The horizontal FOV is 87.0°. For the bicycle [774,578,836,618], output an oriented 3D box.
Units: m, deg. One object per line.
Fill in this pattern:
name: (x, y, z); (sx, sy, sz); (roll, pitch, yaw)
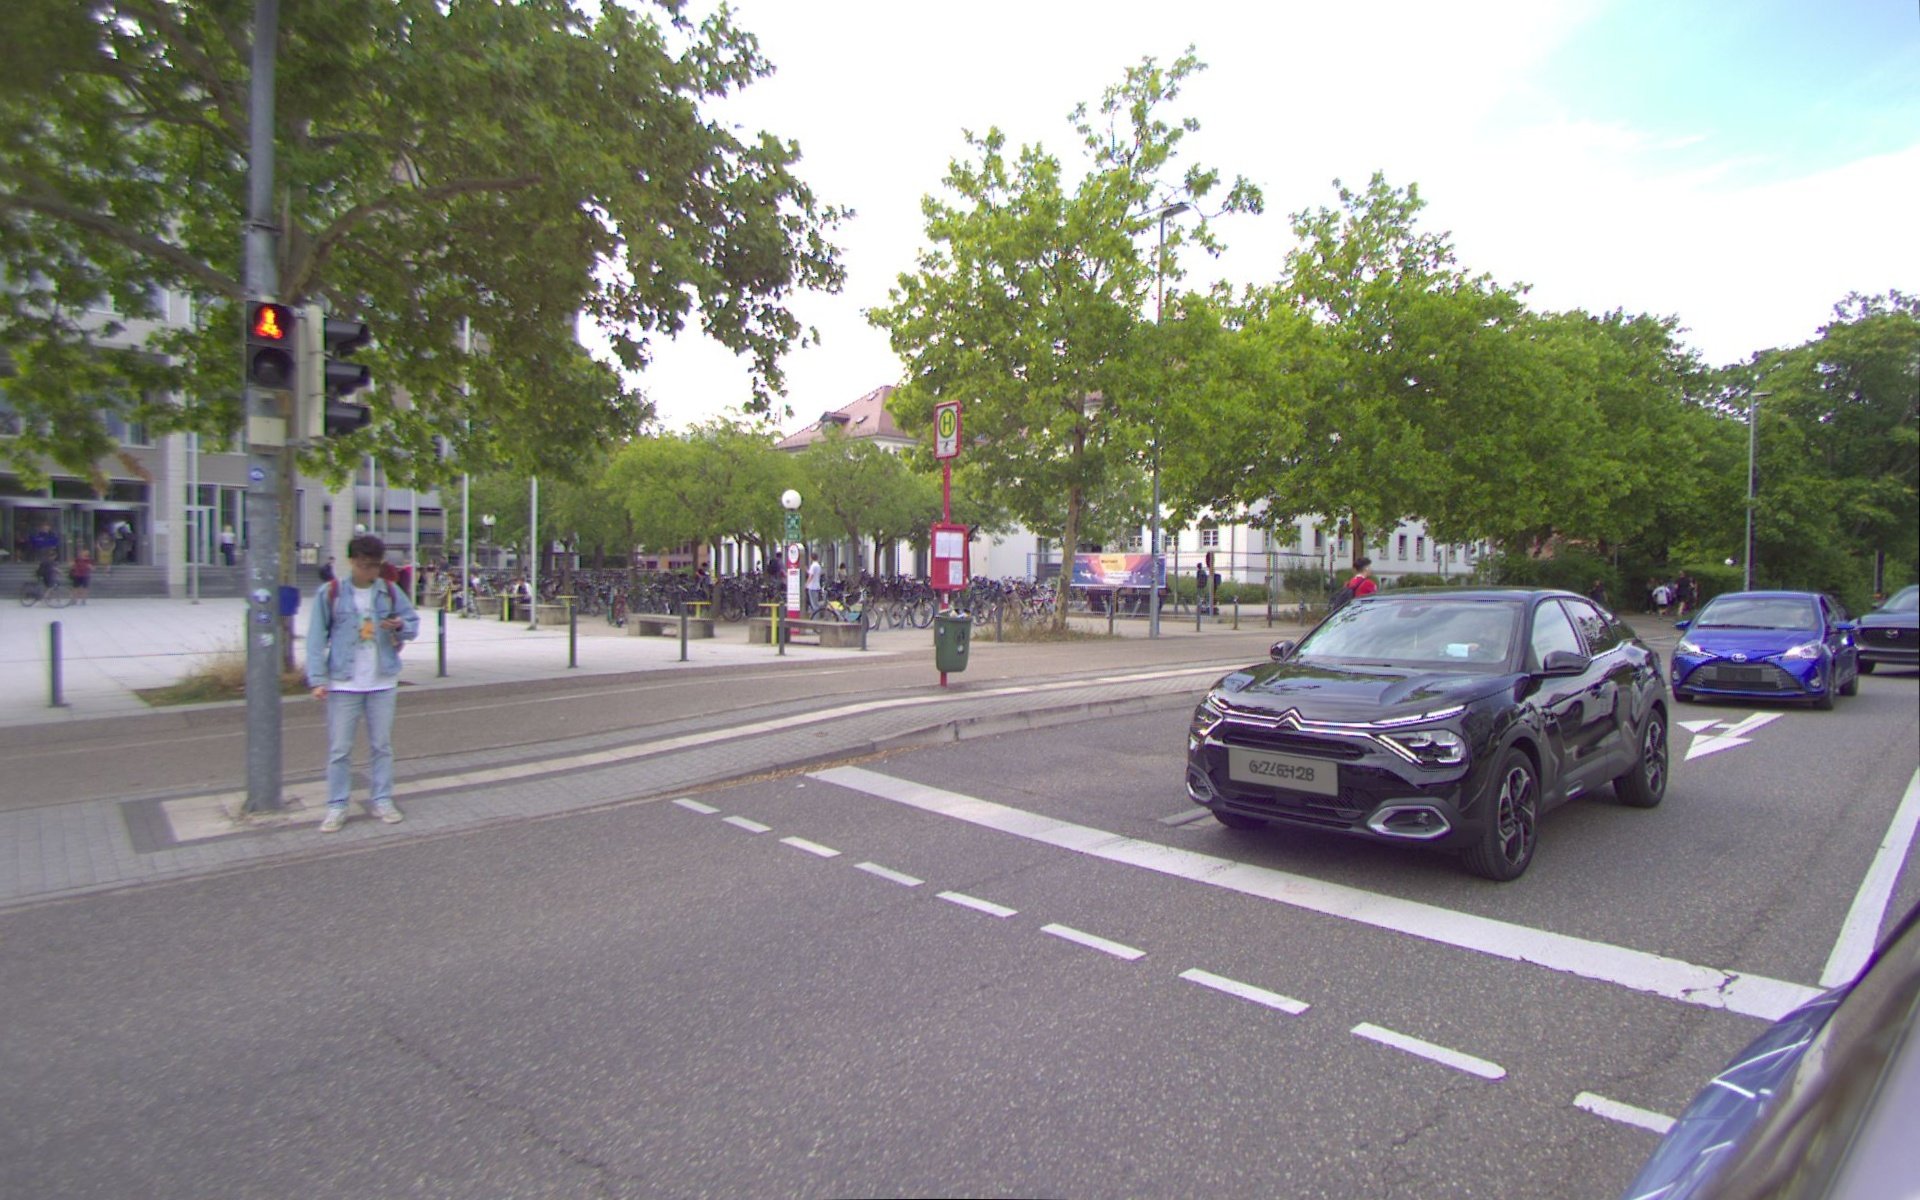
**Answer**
bicycle: (-4.845, -0.080, 31.466); (0.705, 1.156, 2.470); (0, 1, -41)

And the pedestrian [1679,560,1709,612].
pedestrian: (28.138, -0.548, 38.803); (0.747, 1.958, 0.797); (0, 1, -43)

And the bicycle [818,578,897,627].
bicycle: (-2.596, 0.046, 25.334); (0.705, 1.156, 2.470); (0, 1, -41)

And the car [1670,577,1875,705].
car: (11.283, 0.458, 13.974); (3.768, 1.512, 1.701); (-1, 2, -43)

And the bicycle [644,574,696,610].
bicycle: (-9.758, -0.273, 33.996); (0.705, 1.156, 2.470); (0, 1, -41)

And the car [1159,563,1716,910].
car: (3.309, 0.612, 6.639); (4.102, 1.576, 1.802); (0, 0, -41)

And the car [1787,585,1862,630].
car: (30.413, 0.218, 35.569); (3.951, 1.481, 1.604); (-1, 1, -43)

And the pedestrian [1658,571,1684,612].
pedestrian: (27.655, -0.337, 39.369); (0.791, 1.584, 0.645); (0, 1, -42)

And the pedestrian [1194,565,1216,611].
pedestrian: (9.505, -0.462, 39.331); (0.584, 1.760, 0.586); (0, 1, -41)

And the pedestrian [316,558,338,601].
pedestrian: (-24.666, -0.785, 39.448); (0.590, 1.661, 0.634); (0, 0, -19)

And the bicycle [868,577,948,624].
bicycle: (-1.375, -0.010, 26.085); (0.705, 1.156, 2.470); (0, 1, -41)

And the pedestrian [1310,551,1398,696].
pedestrian: (5.330, 0.293, 13.684); (1.047, 1.876, 0.726); (0, 1, -45)

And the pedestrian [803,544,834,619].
pedestrian: (-3.812, -0.492, 27.214); (0.674, 1.988, 0.601); (0, 0, 8)

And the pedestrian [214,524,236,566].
pedestrian: (-30.741, -2.295, 42.328); (0.619, 1.736, 0.673); (0, 0, -25)

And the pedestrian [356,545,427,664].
pedestrian: (-9.065, 0.064, 16.137); (0.875, 1.827, 0.769); (0, 0, -38)

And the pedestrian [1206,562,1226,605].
pedestrian: (10.518, -0.681, 41.580); (0.583, 1.774, 0.531); (0, 1, -38)

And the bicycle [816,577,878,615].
bicycle: (-3.659, -0.161, 32.527); (0.705, 1.156, 2.470); (0, 1, -41)

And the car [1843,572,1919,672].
car: (17.882, 0.353, 18.191); (4.555, 1.669, 1.907); (0, 1, -34)

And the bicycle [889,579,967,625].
bicycle: (-0.877, 0.022, 26.867); (0.705, 1.156, 2.470); (0, 1, -41)

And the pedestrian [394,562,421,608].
pedestrian: (-19.517, -0.515, 35.733); (0.723, 1.617, 0.595); (0, 0, 35)

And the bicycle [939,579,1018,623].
bicycle: (0.488, 0.007, 28.026); (0.705, 1.156, 2.470); (0, 1, -41)

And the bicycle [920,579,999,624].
bicycle: (-0.043, 0.012, 27.263); (0.705, 1.156, 2.470); (0, 1, -41)

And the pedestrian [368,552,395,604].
pedestrian: (-21.195, -0.809, 37.080); (0.722, 1.867, 0.595); (0, 0, 33)

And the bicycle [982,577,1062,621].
bicycle: (1.694, -0.041, 28.032); (0.705, 1.156, 2.470); (0, 1, -41)

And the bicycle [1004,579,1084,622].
bicycle: (2.356, -0.003, 28.596); (0.705, 1.156, 2.470); (0, 1, -41)

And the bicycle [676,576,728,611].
bicycle: (-8.886, -0.233, 34.785); (0.705, 1.156, 2.470); (0, 1, -41)

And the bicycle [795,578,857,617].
bicycle: (-4.266, -0.093, 31.973); (0.705, 1.156, 2.470); (0, 1, -41)

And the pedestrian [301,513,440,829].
pedestrian: (-3.692, 0.406, 6.336); (0.669, 1.839, 0.574); (0, 1, -39)

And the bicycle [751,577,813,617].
bicycle: (-5.455, -0.104, 30.921); (0.705, 1.156, 2.470); (0, 1, -41)

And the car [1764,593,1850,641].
car: (27.188, 0.501, 32.447); (3.768, 1.386, 1.701); (-1, 2, -43)

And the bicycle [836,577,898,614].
bicycle: (-3.066, -0.174, 33.060); (0.705, 1.156, 2.470); (0, 1, -41)

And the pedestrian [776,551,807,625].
pedestrian: (-4.569, -0.331, 27.431); (0.674, 1.988, 0.601); (0, 0, 8)

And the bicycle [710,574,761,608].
bicycle: (-7.928, -0.333, 35.665); (0.705, 1.156, 2.470); (0, 1, -41)
